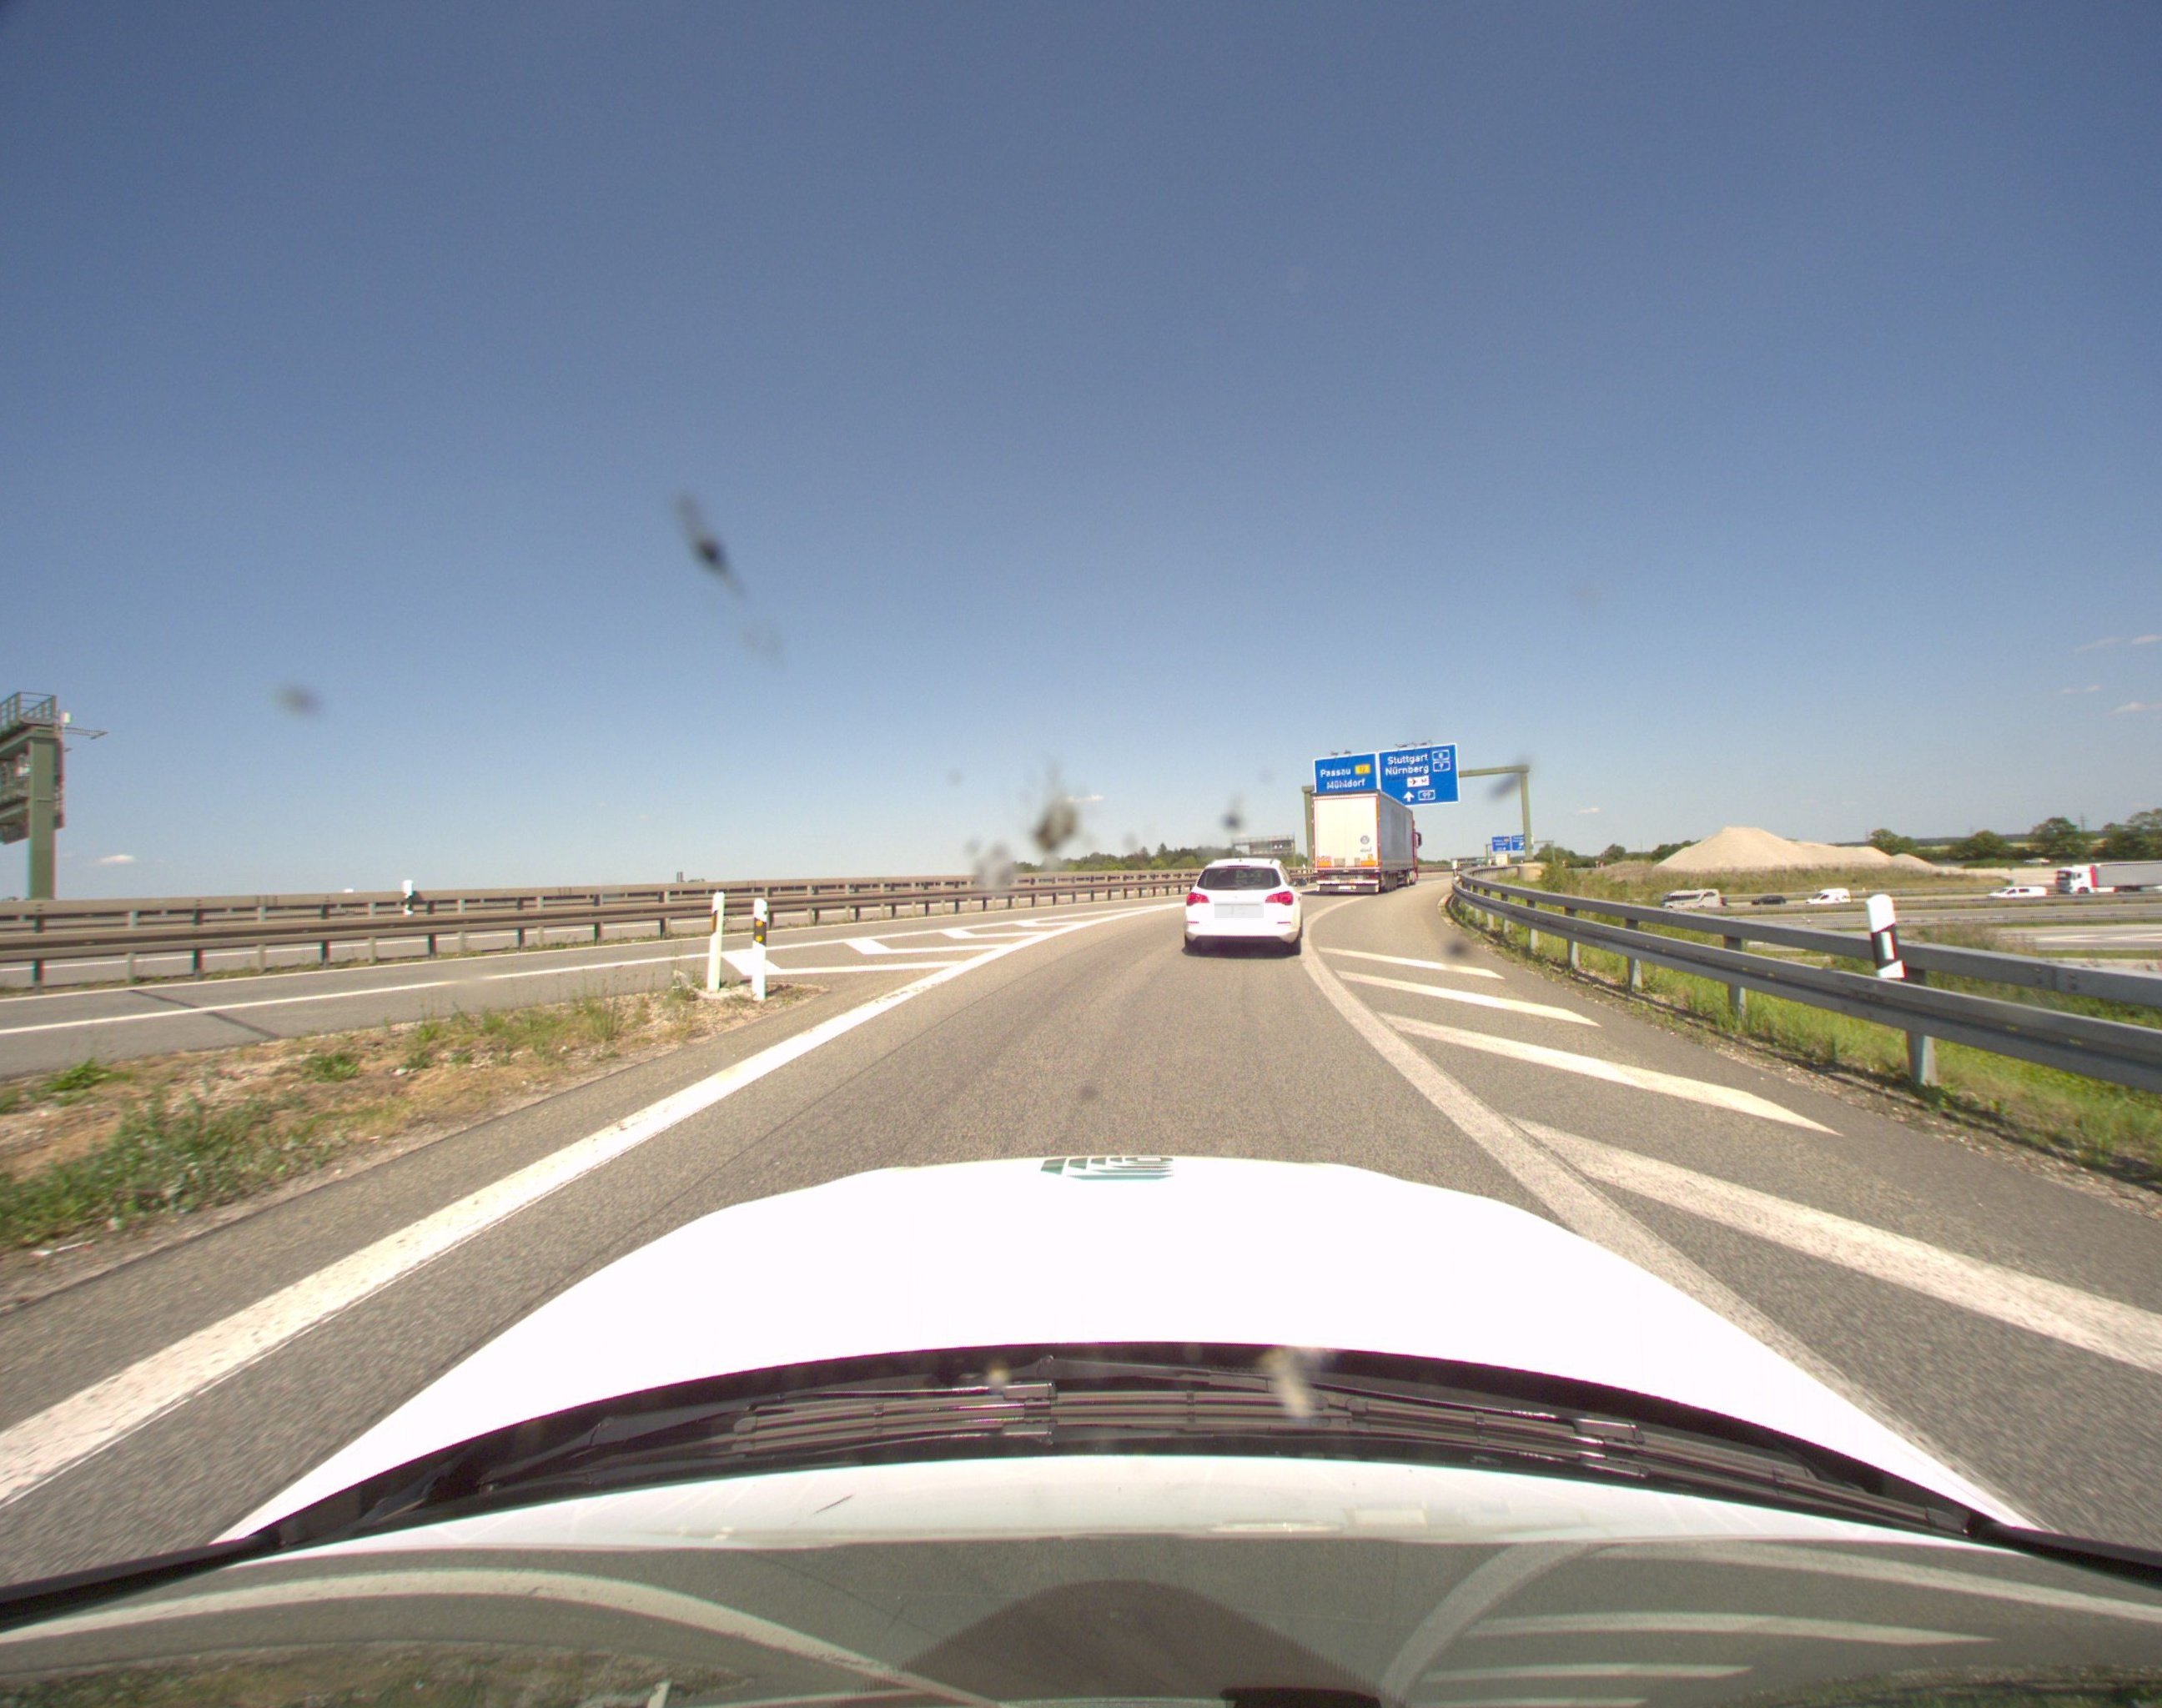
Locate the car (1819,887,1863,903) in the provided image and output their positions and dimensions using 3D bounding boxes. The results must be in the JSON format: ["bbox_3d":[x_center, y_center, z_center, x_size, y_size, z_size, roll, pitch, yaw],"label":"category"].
[{"bbox_3d":[103.818,5.602,111.295,3.951,2.014,1.813,-1,-1,23],"label":"car"}]

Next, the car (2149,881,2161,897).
[{"bbox_3d":[140.566,4.462,104.181,4.357,2.014,2.010,-1,-2,21],"label":"car"}]

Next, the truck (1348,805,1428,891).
[{"bbox_3d":[16.353,-0.169,43.134,2.885,4.146,6.967,-2,-3,29],"label":"truck"}]

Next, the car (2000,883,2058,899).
[{"bbox_3d":[121.562,4.759,104.463,4.357,2.014,2.010,-1,-2,21],"label":"car"}]

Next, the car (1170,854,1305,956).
[{"bbox_3d":[2.825,0.764,13.893,1.840,1.443,4.390,-1,-1,16],"label":"car"}]

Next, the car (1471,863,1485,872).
[{"bbox_3d":[63.620,2.245,130.450,1.637,1.380,4.025,0,-1,31],"label":"car"}]

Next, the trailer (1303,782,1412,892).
[{"bbox_3d":[12.652,-0.464,36.403,2.885,4.146,11.323,-2,-2,27],"label":"trailer"}]

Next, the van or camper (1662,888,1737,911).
[{"bbox_3d":[91.059,6.696,120.115,8.063,2.996,2.999,-4,-6,21],"label":"van or camper"}]

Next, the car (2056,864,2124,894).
[{"bbox_3d":[135.457,3.357,109.402,5.099,3.964,2.495,-1,-2,21],"label":"car"}]

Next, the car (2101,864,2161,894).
[{"bbox_3d":[143.366,3.248,106.476,12.859,3.964,2.495,-1,-2,21],"label":"car"}]

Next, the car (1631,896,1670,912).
[{"bbox_3d":[78.150,6.870,111.867,3.956,2.015,1.884,-1,-6,16],"label":"car"}]

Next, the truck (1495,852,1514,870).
[{"bbox_3d":[100.572,1.735,193.436,3.505,4.145,11.326,0,-1,30],"label":"truck"}]
